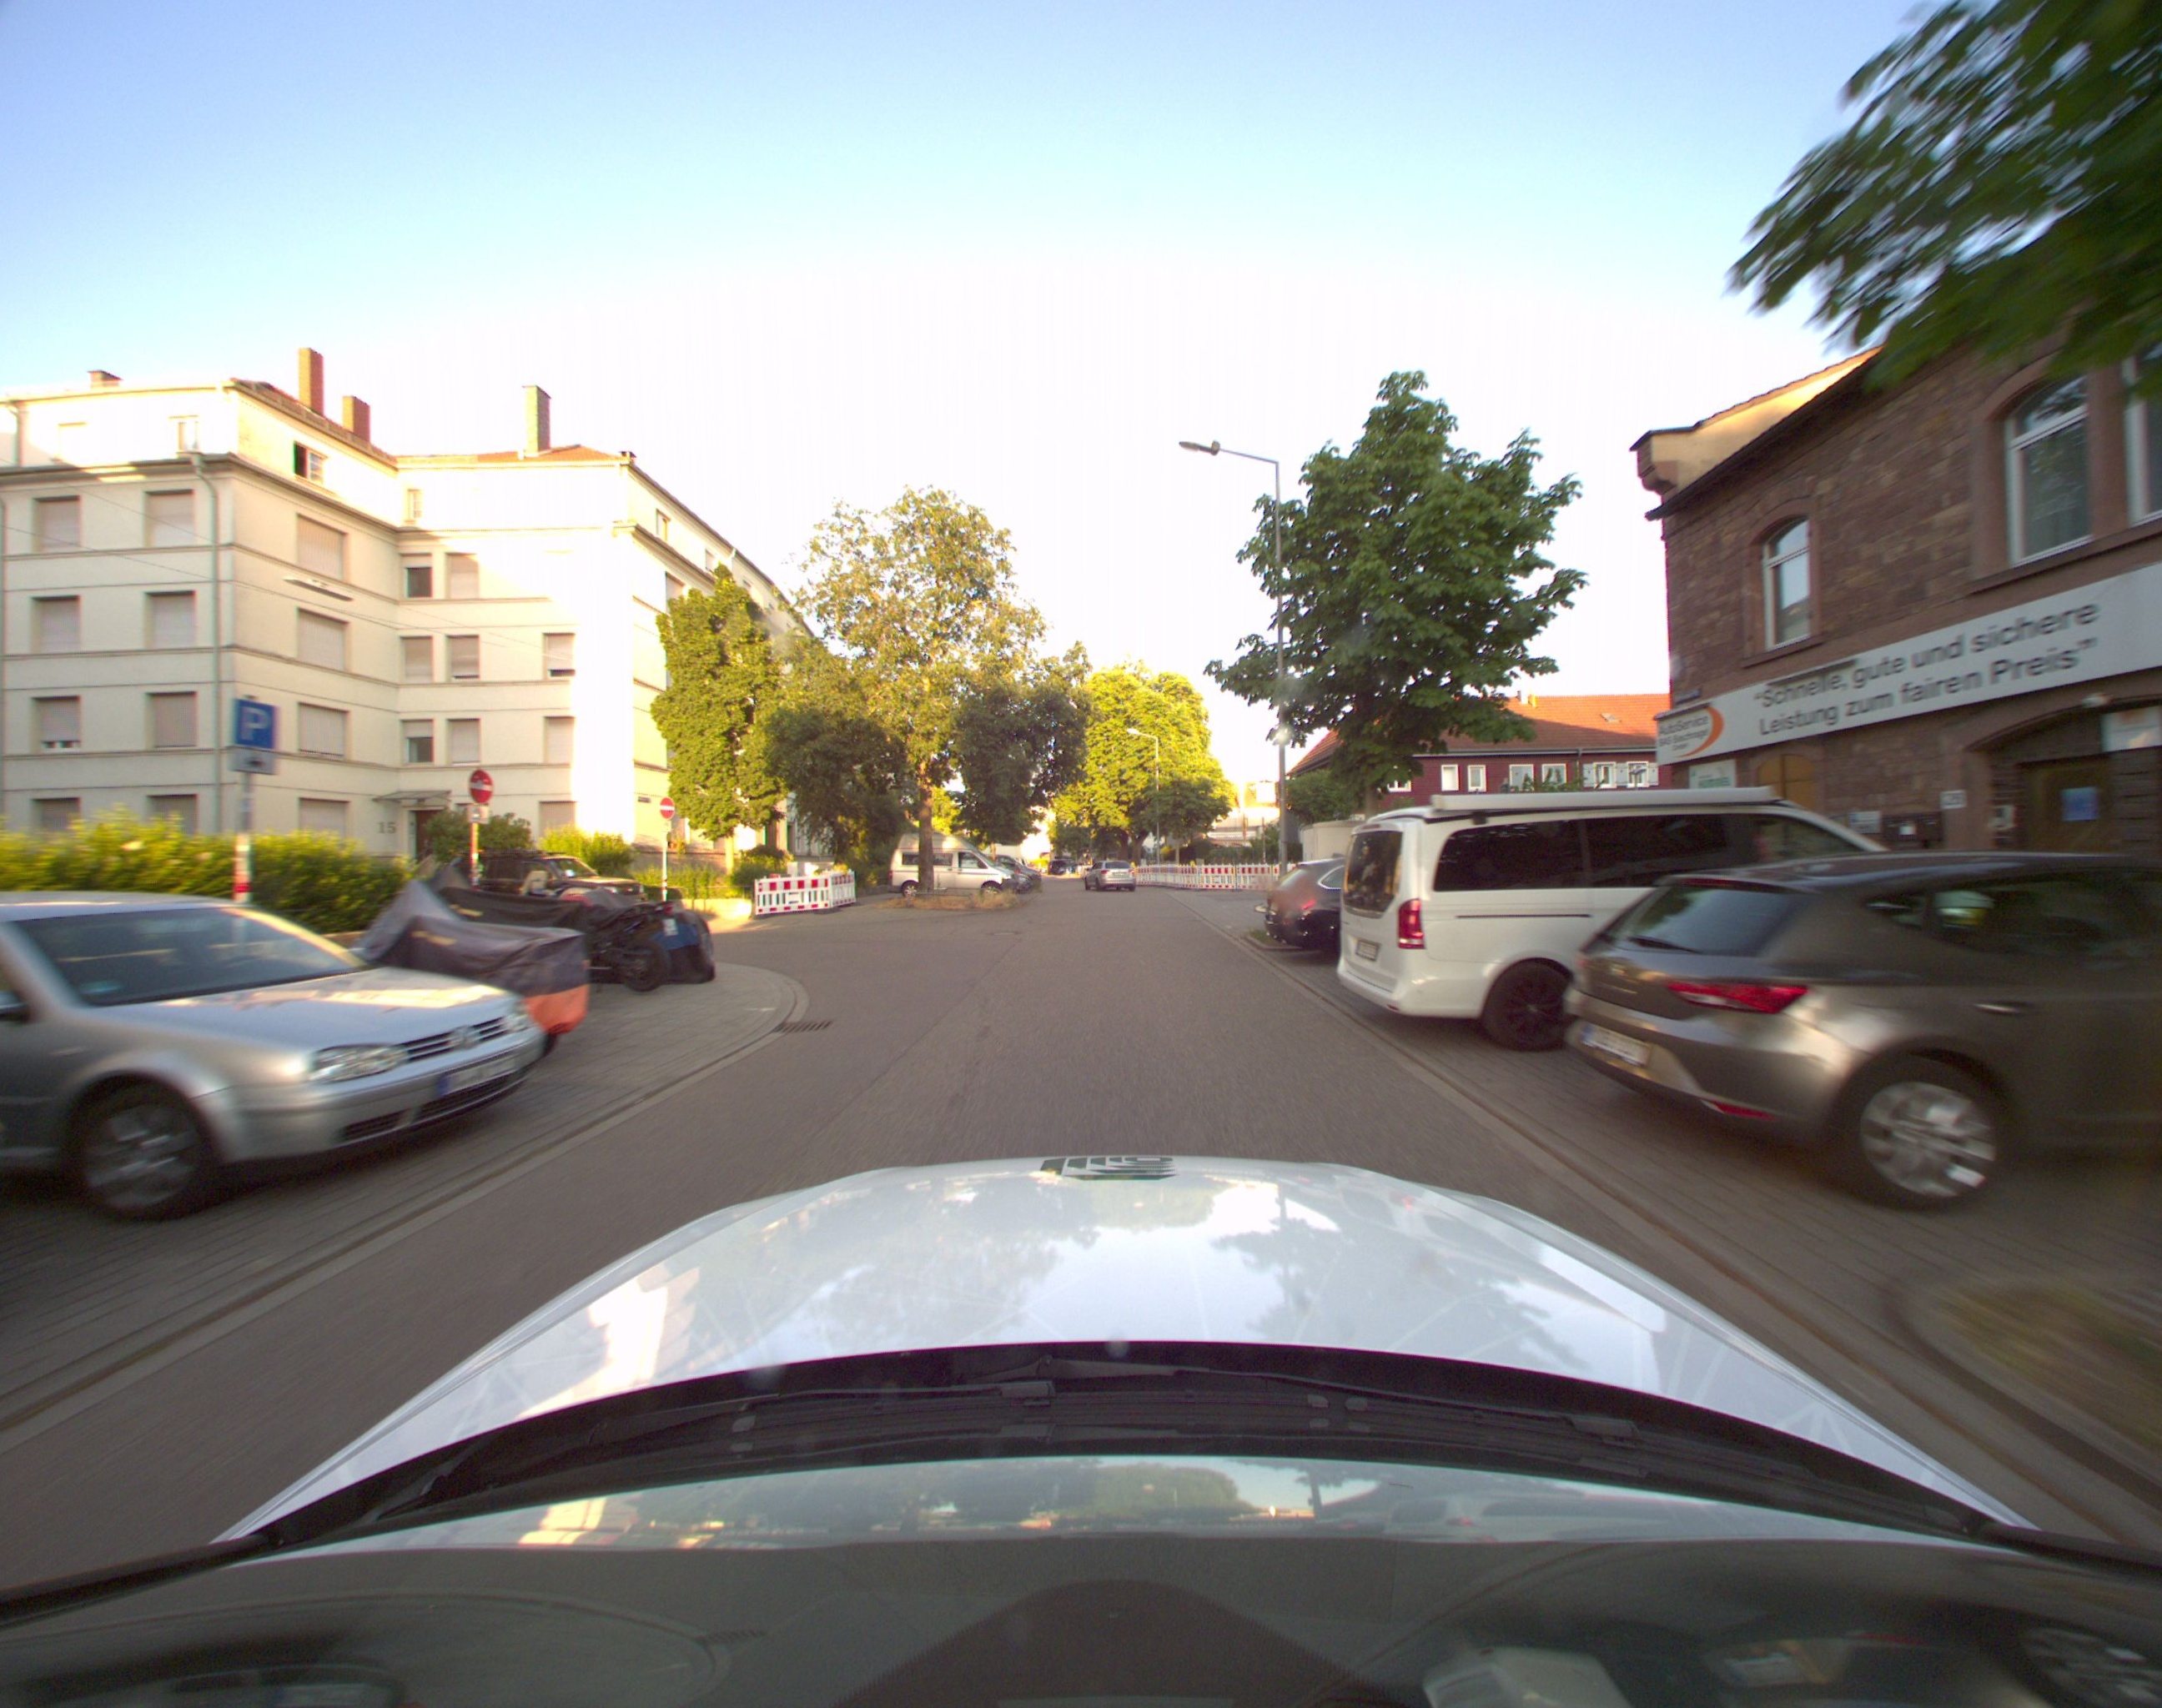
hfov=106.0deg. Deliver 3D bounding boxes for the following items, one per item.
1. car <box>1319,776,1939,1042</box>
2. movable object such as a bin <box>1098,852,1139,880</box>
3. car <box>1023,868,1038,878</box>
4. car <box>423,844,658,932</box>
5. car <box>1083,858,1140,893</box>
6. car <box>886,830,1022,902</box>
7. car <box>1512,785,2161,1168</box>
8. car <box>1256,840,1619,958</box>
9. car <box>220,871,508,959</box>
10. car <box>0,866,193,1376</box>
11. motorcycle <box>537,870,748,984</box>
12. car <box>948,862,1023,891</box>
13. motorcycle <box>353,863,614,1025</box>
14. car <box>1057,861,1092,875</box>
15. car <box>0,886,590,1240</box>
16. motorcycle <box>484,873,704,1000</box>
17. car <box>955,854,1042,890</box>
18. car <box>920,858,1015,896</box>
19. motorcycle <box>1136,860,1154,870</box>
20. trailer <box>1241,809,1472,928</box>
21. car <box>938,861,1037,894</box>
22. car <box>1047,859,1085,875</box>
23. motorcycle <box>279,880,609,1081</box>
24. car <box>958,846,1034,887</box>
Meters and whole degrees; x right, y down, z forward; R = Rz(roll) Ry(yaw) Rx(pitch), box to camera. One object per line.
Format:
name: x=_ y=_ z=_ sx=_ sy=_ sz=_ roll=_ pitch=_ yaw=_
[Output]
car: x=4.317 y=0.423 z=7.023 sx=3.971 sy=1.904 sz=2.001 roll=-1 pitch=-1 yaw=2
movable object such as a bin: x=3.412 y=1.097 z=75.039 sx=2.630 sy=2.403 sz=5.176 roll=-1 pitch=-1 yaw=-11
car: x=-7.674 y=2.841 z=123.612 sx=1.731 sy=1.484 sz=3.544 roll=-1 pitch=-1 yaw=-11
car: x=-13.433 y=0.821 z=20.429 sx=4.559 sy=2.014 sz=2.001 roll=-1 pitch=-1 yaw=2
car: x=1.349 y=0.967 z=37.985 sx=1.808 sy=1.488 sz=3.985 roll=-1 pitch=0 yaw=-11
car: x=-4.746 y=0.440 z=30.922 sx=4.712 sy=2.569 sz=2.001 roll=-1 pitch=-1 yaw=3
car: x=4.640 y=0.485 z=4.107 sx=3.971 sy=1.510 sz=1.777 roll=-1 pitch=-1 yaw=2
car: x=4.871 y=0.610 z=11.637 sx=4.409 sy=1.499 sz=1.774 roll=-1 pitch=-1 yaw=2
car: x=-13.220 y=1.088 z=15.197 sx=3.751 sy=1.464 sz=1.829 roll=-1 pitch=-1 yaw=1
car: x=-5.385 y=0.864 z=2.335 sx=3.968 sy=1.583 sz=1.731 roll=-1 pitch=-1 yaw=4
motorcycle: x=-5.810 y=0.948 z=10.869 sx=2.371 sy=1.436 sz=0.882 roll=-1 pitch=-1 yaw=6
car: x=-4.931 y=1.157 z=42.367 sx=3.760 sy=1.439 sz=1.654 roll=0 pitch=-1 yaw=-3
motorcycle: x=-6.159 y=0.901 z=8.454 sx=2.220 sy=1.582 sz=0.775 roll=-1 pitch=-1 yaw=6
car: x=-0.815 y=1.733 z=101.486 sx=3.997 sy=1.651 sz=1.754 roll=-1 pitch=-1 yaw=-17
car: x=-5.102 y=0.982 z=4.565 sx=3.696 sy=1.506 sz=1.692 roll=-1 pitch=-1 yaw=4
motorcycle: x=-5.797 y=0.966 z=9.752 sx=2.220 sy=1.436 sz=0.775 roll=-1 pitch=-1 yaw=6
car: x=-4.531 y=0.991 z=44.990 sx=4.665 sy=1.874 sz=1.997 roll=-1 pitch=-1 yaw=-5
car: x=-4.749 y=0.968 z=34.424 sx=3.792 sy=1.523 sz=1.652 roll=1 pitch=-1 yaw=-1
motorcycle: x=6.982 y=1.219 z=88.386 sx=1.846 sy=1.106 sz=0.577 roll=-1 pitch=-1 yaw=-20
trailer: x=5.389 y=0.291 z=16.379 sx=3.971 sy=2.187 sz=2.001 roll=-1 pitch=-1 yaw=2
car: x=-4.208 y=1.058 z=37.042 sx=4.228 sy=1.394 sz=1.684 roll=0 pitch=-1 yaw=1
car: x=-1.952 y=1.716 z=106.256 sx=4.565 sy=2.023 sz=2.090 roll=-1 pitch=-1 yaw=-15
motorcycle: x=-4.939 y=0.946 z=6.415 sx=1.980 sy=1.436 sz=0.721 roll=-1 pitch=-1 yaw=-2
car: x=-5.169 y=0.768 z=50.103 sx=4.494 sy=2.431 sz=1.997 roll=-1 pitch=-1 yaw=-5
